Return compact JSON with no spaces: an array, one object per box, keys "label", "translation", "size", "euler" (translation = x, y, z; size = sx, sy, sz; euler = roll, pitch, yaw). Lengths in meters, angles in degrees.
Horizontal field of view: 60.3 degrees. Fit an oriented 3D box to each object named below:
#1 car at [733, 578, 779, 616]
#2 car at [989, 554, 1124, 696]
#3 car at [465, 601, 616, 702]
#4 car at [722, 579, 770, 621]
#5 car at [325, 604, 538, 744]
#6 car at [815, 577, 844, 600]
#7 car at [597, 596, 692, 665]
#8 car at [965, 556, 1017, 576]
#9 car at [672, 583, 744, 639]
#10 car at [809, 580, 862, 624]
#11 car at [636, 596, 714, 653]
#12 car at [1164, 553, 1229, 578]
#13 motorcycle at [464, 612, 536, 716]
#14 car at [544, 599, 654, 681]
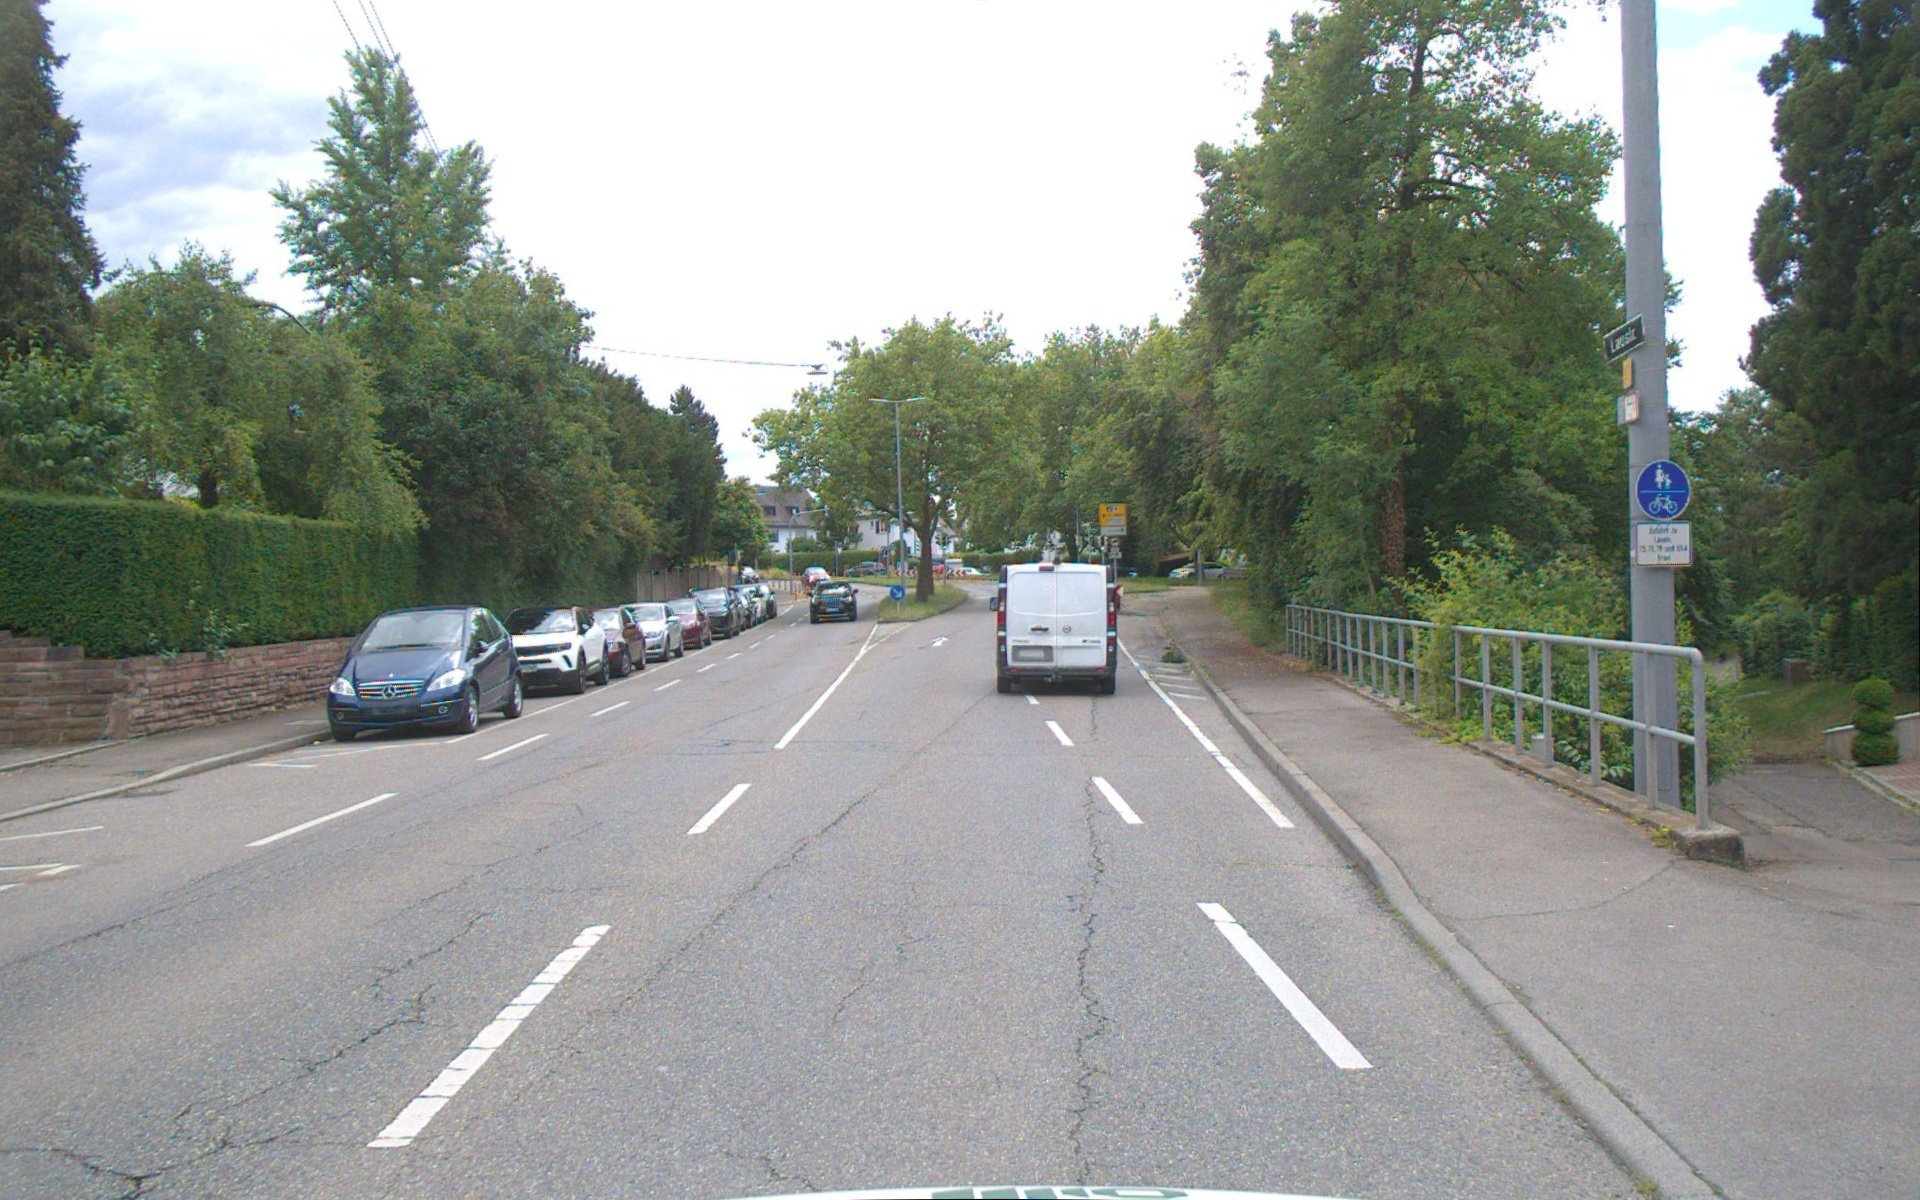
[{"label":"car","translation":[-9.468,-0.173,77.185],"size":[1.851,1.653,4.427],"euler":[-2,1,-4]},{"label":"car","translation":[1.475,0.344,26.751],"size":[1.965,2.073,5.011],"euler":[0,1,1]},{"label":"car","translation":[-7.479,0.866,29.864],"size":[1.852,1.520,4.024],"euler":[-3,1,-4]},{"label":"car","translation":[-9.273,-0.020,71.847],"size":[1.639,1.619,4.095],"euler":[-4,1,-2]},{"label":"car","translation":[-6.916,0.899,22.043],"size":[1.645,1.583,3.969],"euler":[-4,0,-3]},{"label":"car","translation":[-9.870,-0.887,125.711],"size":[1.958,1.615,3.996],"euler":[-3,1,-2]},{"label":"car","translation":[-7.879,0.717,41.684],"size":[1.636,1.514,4.429],"euler":[-3,1,-2]},{"label":"car","translation":[2.914,-3.210,157.064],"size":[4.651,1.800,1.992],"euler":[0,2,37]},{"label":"car","translation":[-8.401,0.330,55.454],"size":[1.954,1.671,4.463],"euler":[-3,1,-4]},{"label":"car","translation":[-5.115,0.055,68.312],"size":[1.805,1.675,4.213],"euler":[-2,0,0]},{"label":"car","translation":[-8.305,0.680,48.472],"size":[1.744,1.463,3.997],"euler":[-3,1,-4]},{"label":"car","translation":[17.931,-2.626,125.222],"size":[4.684,1.800,1.978],"euler":[-2,2,-32]},{"label":"motorcycle","translation":[-7.122,0.950,25.546],"size":[0.873,1.378,2.294],"euler":[-4,3,-18]},{"label":"car","translation":[-7.649,0.806,35.368],"size":[1.636,1.504,3.908],"euler":[-3,1,-4]}]
